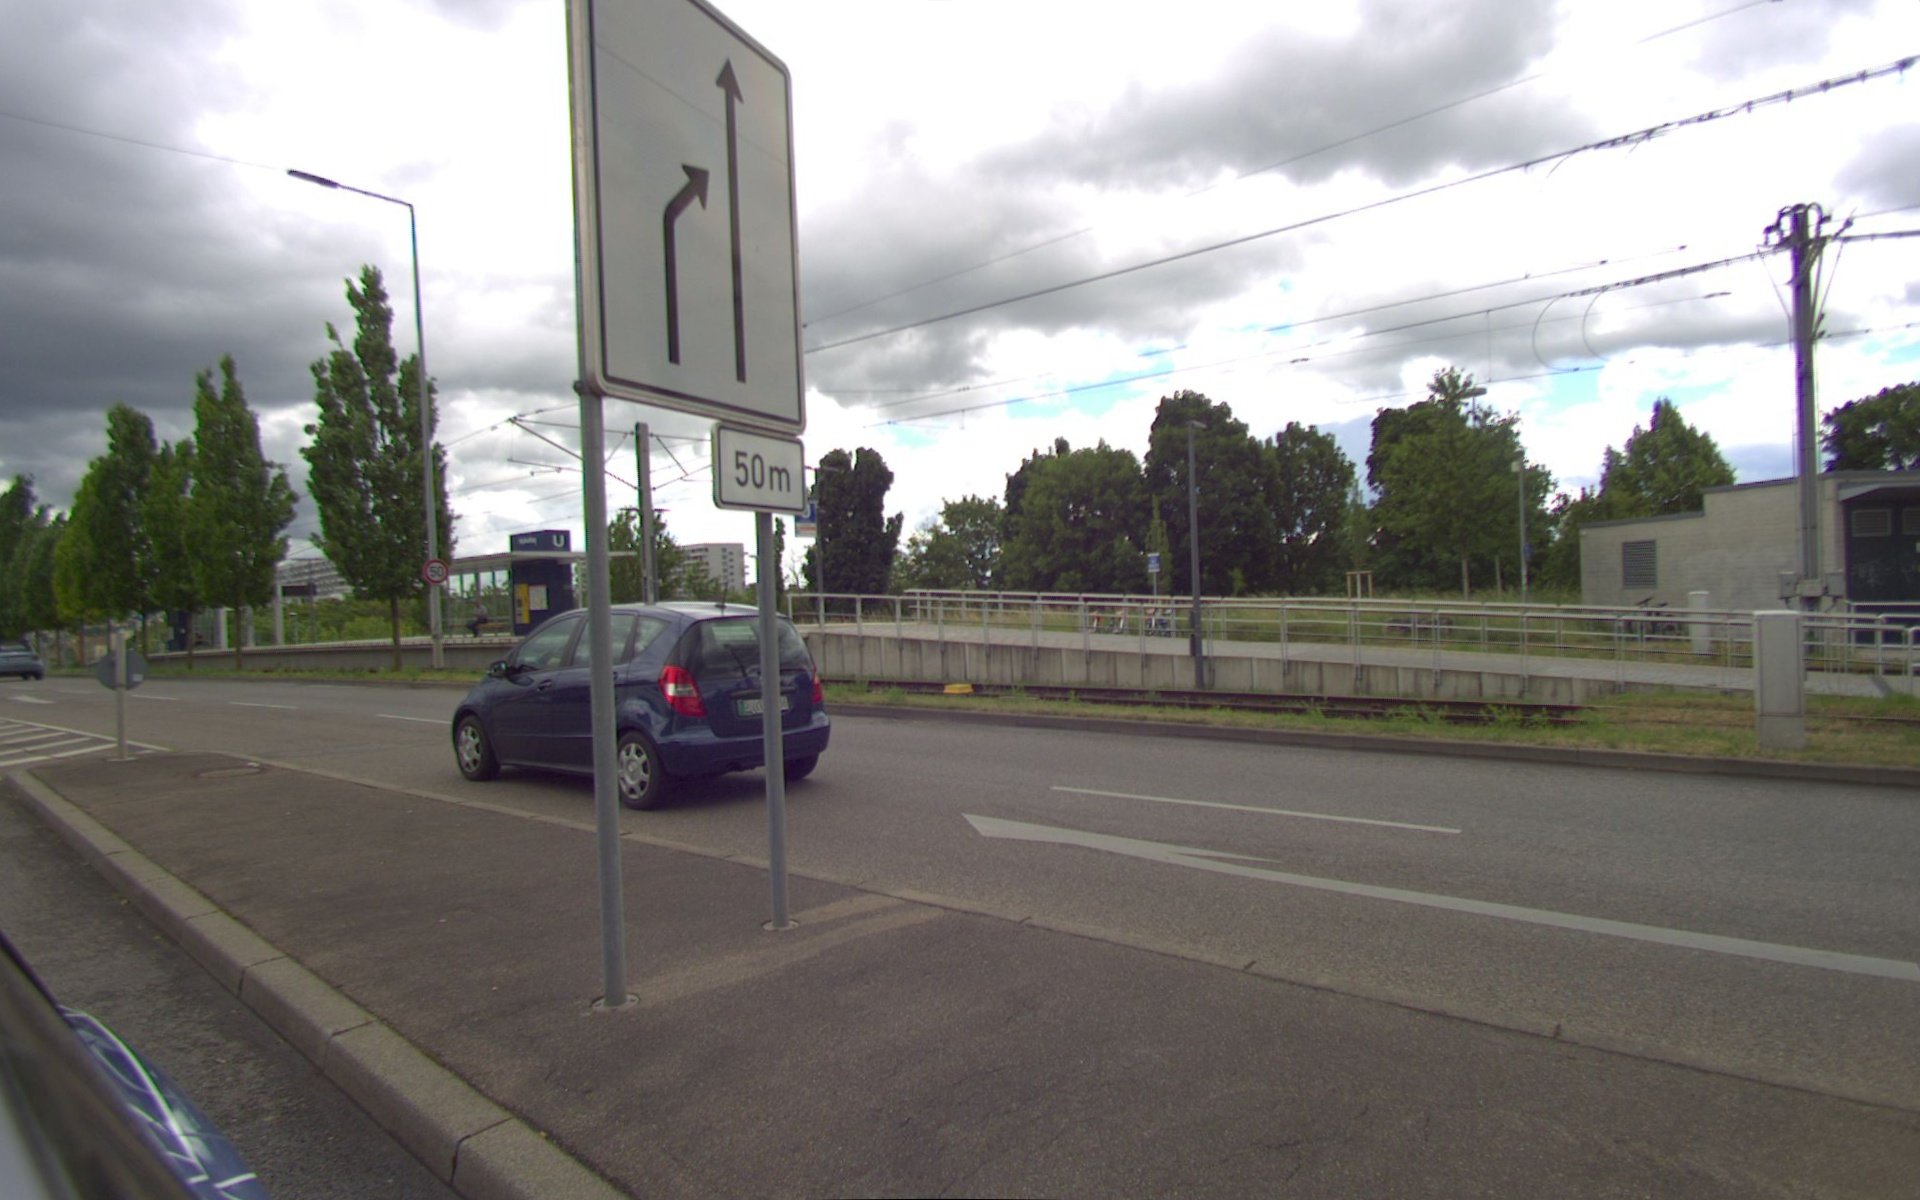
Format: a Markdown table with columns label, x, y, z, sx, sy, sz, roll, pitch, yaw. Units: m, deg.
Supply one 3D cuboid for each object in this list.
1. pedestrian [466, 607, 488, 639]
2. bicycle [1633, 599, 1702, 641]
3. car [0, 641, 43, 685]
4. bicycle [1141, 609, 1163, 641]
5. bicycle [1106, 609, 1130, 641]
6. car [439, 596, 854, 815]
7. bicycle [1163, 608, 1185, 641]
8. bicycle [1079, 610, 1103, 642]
| label | x | y | z | sx | sy | sz | roll | pitch | yaw |
| --- | --- | --- | --- | --- | --- | --- | --- | --- | --- |
| pedestrian | -18.143 | 0.868 | 37.998 | 0.447 | 1.163 | 0.593 | -1 | 0 | 41 |
| bicycle | 18.208 | 0.504 | 26.095 | 0.529 | 1.039 | 1.813 | -1 | 0 | 1 |
| car | -36.625 | 2.393 | 38.702 | 3.596 | 1.540 | 1.740 | -1 | 0 | 38 |
| bicycle | 6.444 | 0.823 | 33.982 | 0.531 | 1.039 | 1.804 | -1 | 0 | 16 |
| bicycle | 5.388 | 0.851 | 34.435 | 0.531 | 1.039 | 1.804 | -1 | 0 | 16 |
| car | -2.851 | 0.779 | 8.895 | 3.655 | 1.520 | 1.719 | -2 | -1 | 38 |
| bicycle | 7.137 | 0.808 | 33.723 | 0.531 | 1.039 | 1.804 | -1 | 0 | 16 |
| bicycle | 4.515 | 0.878 | 34.839 | 0.531 | 1.039 | 1.804 | -1 | 0 | 16 |
